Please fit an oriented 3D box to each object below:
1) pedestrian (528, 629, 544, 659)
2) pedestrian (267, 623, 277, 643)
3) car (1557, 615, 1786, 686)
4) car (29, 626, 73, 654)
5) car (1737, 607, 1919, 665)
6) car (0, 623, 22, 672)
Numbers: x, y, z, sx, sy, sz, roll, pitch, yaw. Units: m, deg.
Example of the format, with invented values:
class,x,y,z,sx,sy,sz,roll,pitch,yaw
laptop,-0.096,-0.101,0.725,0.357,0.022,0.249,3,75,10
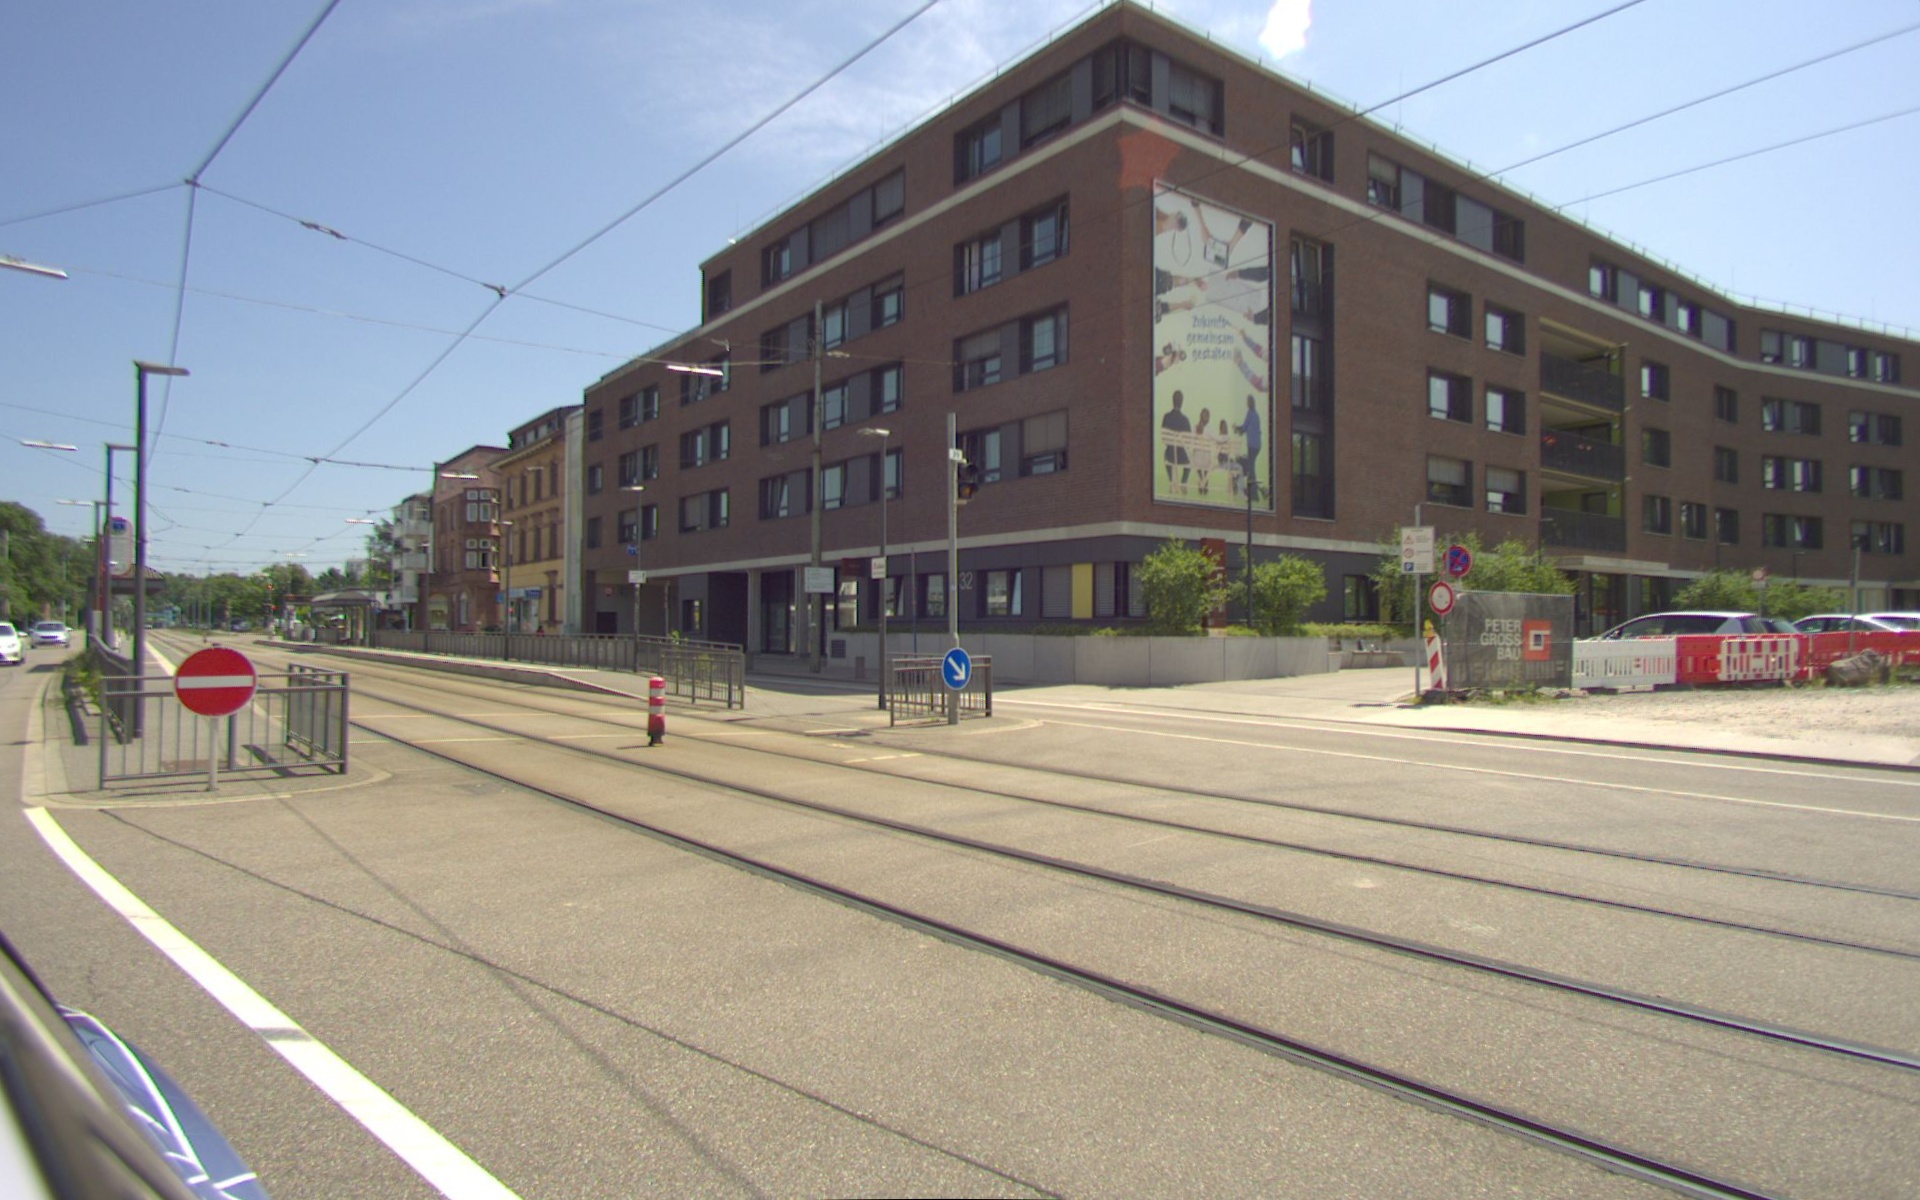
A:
class,x,y,z,sx,sy,sz,roll,pitch,yaw
pedestrian,-22.689,2.337,54.177,0.595,1.608,0.716,2,-2,-42
pedestrian,-58.457,2.821,86.005,0.588,1.637,0.678,3,-3,-39
car,16.439,1.116,23.562,1.708,1.479,4.010,0,-1,-35
car,-54.568,2.402,60.736,1.724,1.567,4.489,0,-1,-45
car,24.301,0.980,28.101,1.709,1.479,4.009,1,-2,-37
car,-32.593,1.577,33.783,1.723,1.567,4.493,-1,-1,-41
